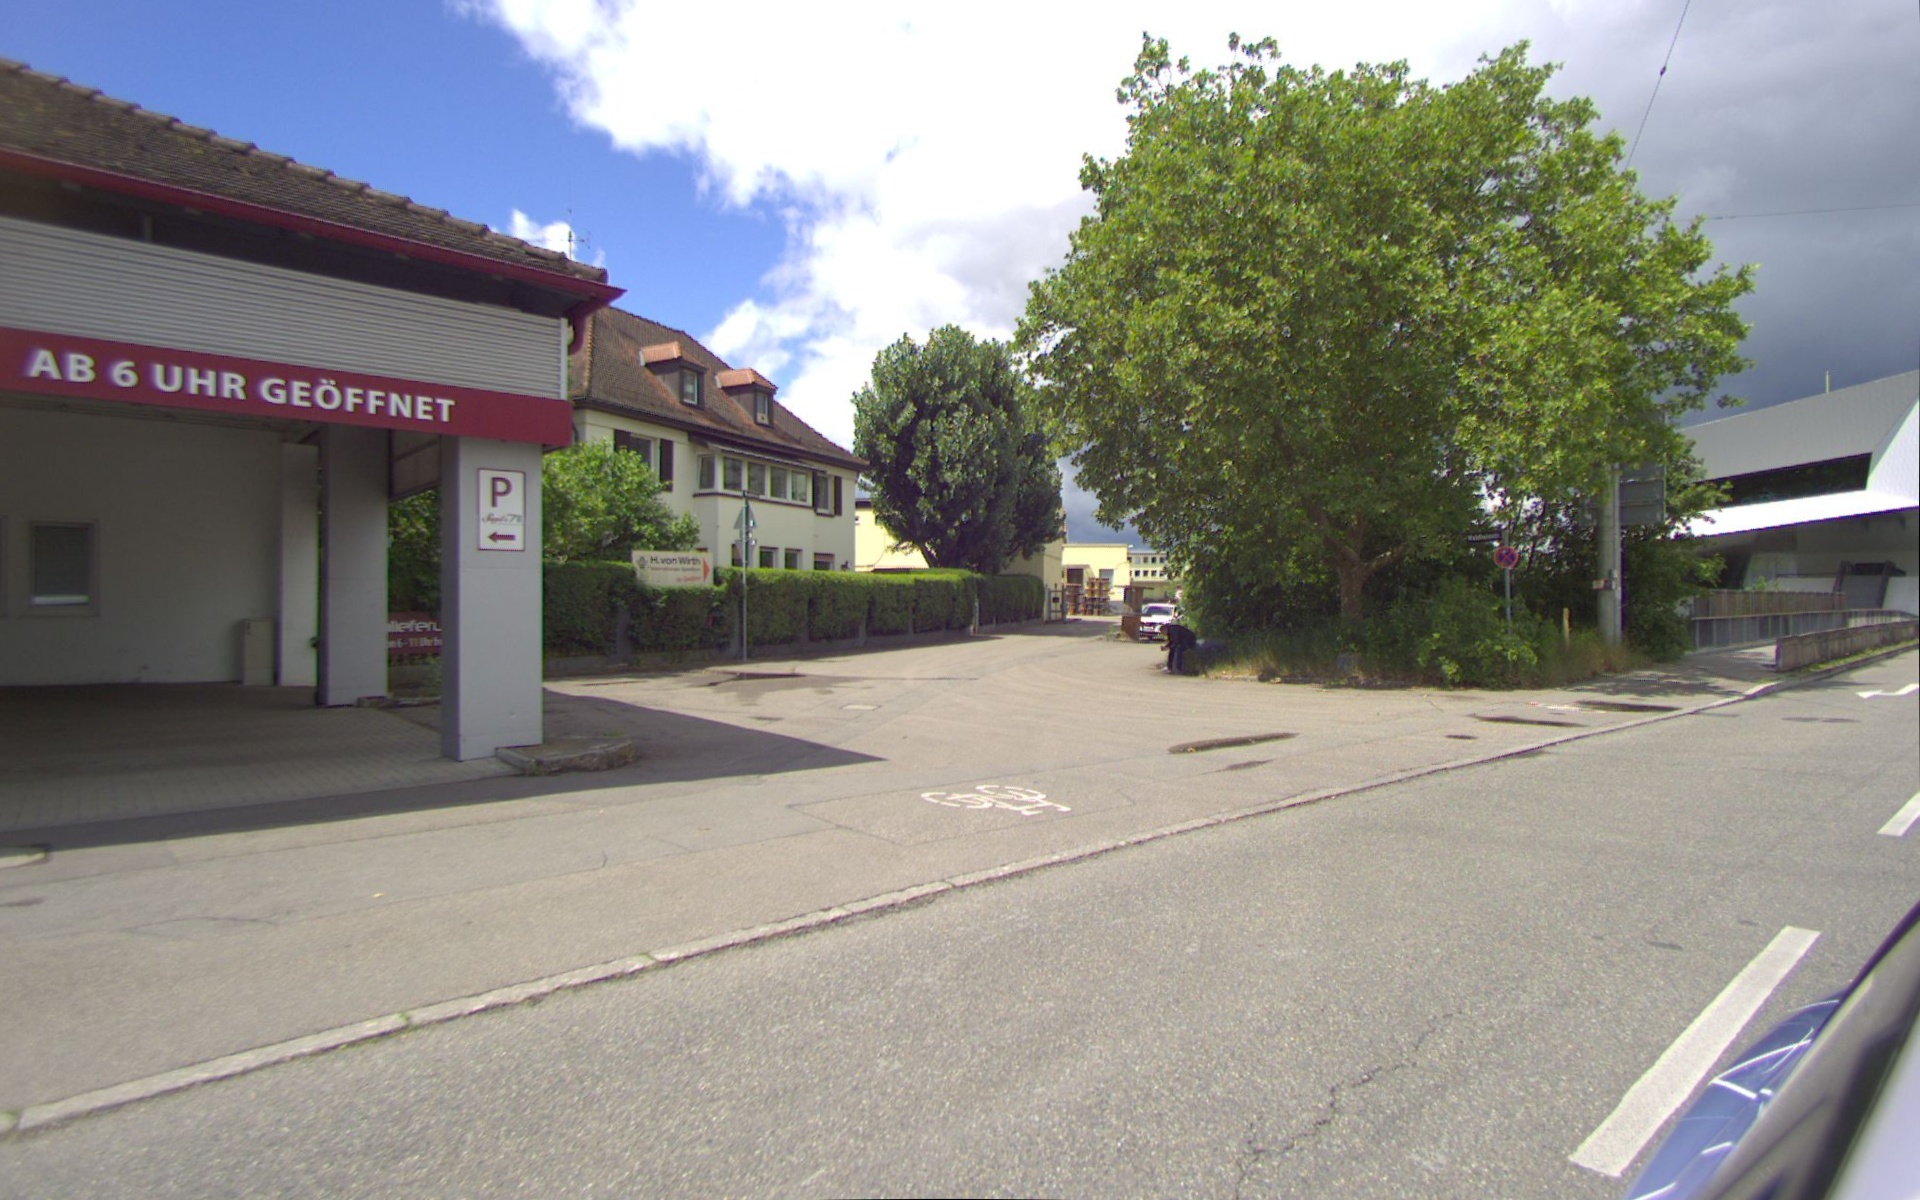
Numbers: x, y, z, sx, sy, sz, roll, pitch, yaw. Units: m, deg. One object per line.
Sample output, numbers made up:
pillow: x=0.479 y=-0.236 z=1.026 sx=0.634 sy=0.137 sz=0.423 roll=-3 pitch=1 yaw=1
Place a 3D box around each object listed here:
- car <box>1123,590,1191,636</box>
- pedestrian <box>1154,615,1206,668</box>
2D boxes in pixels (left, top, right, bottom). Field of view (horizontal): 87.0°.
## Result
car: x=8.791 y=0.541 z=44.945 sx=1.980 sy=1.740 sz=4.077 roll=4 pitch=3 yaw=25
pedestrian: x=5.387 y=1.004 z=24.793 sx=0.945 sy=1.264 sz=0.888 roll=0 pitch=0 yaw=-12
